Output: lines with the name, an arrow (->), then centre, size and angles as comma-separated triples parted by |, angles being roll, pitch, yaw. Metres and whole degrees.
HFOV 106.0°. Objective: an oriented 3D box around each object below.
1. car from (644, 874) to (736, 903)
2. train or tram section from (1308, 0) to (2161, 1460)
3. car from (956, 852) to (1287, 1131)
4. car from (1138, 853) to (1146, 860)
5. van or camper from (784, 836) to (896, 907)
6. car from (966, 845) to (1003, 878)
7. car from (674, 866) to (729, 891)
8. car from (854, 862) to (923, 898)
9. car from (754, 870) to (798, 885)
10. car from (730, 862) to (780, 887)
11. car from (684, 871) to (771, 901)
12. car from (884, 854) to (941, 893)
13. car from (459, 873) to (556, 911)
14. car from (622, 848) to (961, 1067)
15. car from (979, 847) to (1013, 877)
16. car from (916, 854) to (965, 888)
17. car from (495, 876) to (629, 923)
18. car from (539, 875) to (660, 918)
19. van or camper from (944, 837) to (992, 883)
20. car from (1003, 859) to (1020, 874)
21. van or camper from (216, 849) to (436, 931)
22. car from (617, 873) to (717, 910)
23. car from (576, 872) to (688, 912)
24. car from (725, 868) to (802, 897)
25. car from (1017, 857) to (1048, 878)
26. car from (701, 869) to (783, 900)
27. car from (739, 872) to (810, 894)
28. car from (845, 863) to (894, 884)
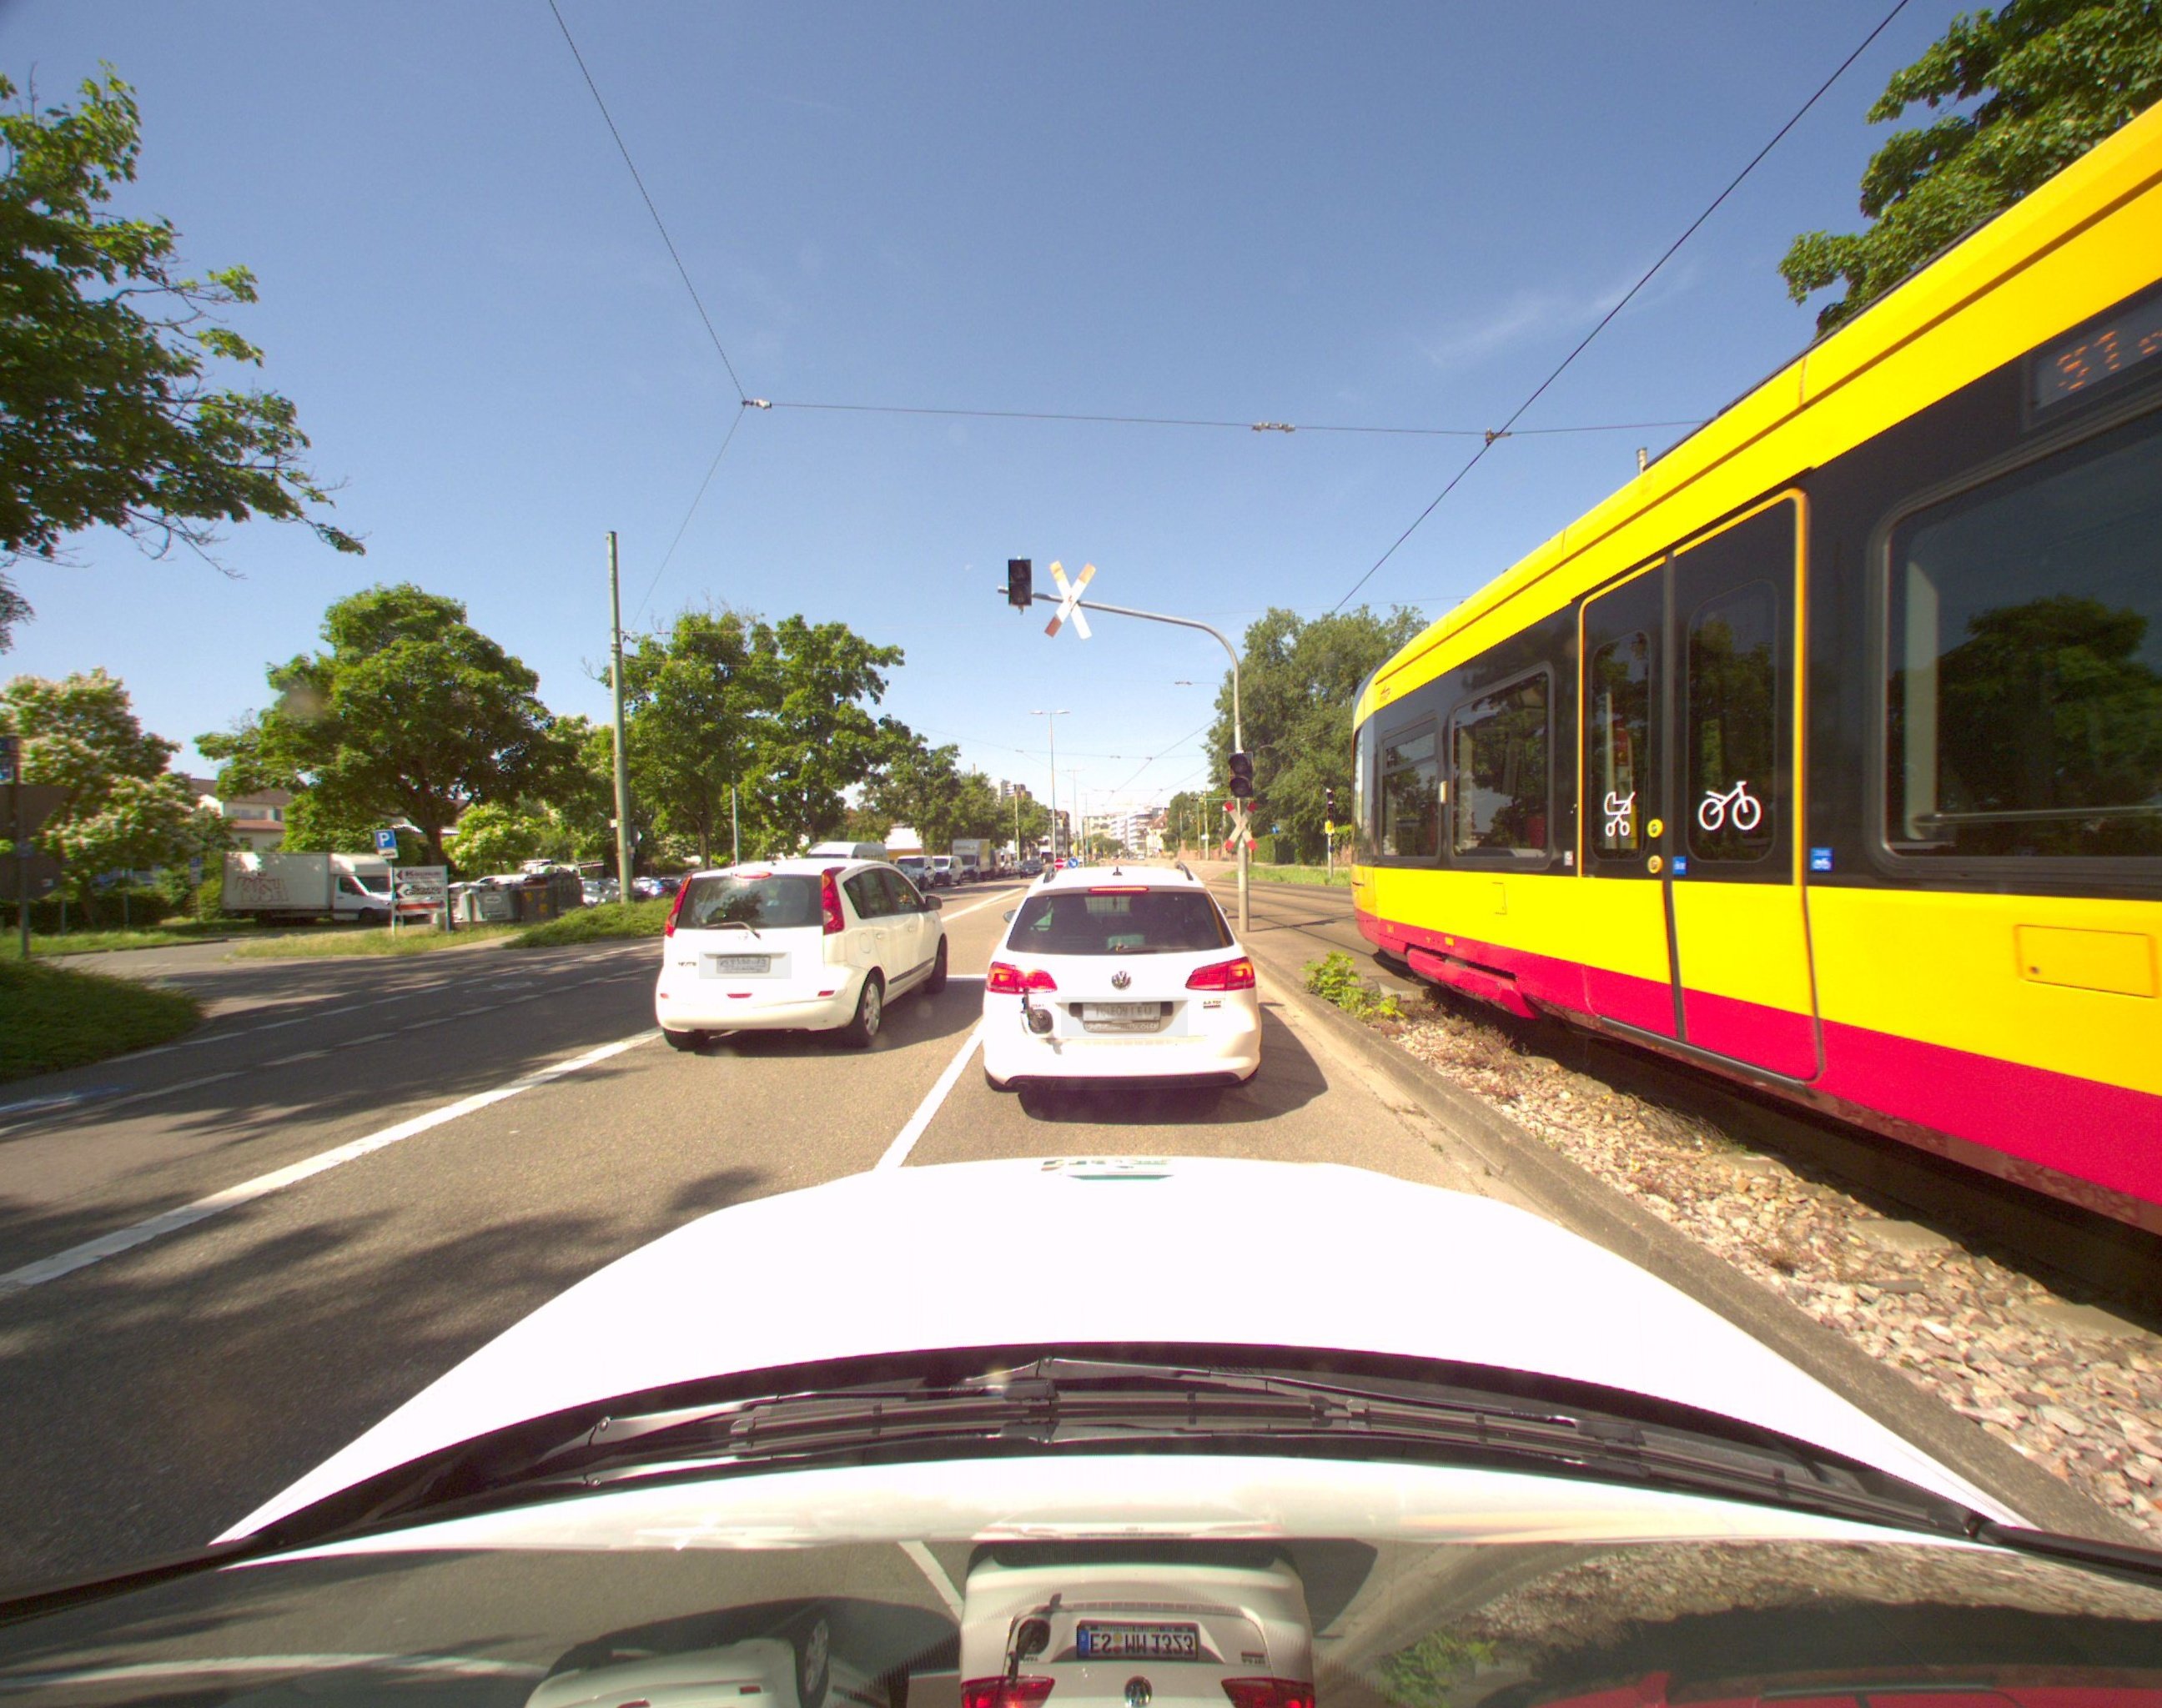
car -> -20.131, 1.758, 42.023 | 3.901, 1.271, 1.664 | -3, -1, 1
train or tram section -> 4.019, -0.332, 2.857 | 2.660, 3.652, 15.312 | 0, 0, 2
car -> 0.300, 0.731, 6.290 | 1.771, 1.490, 3.849 | 0, 0, 3
car -> 17.785, 0.791, 237.563 | 2.118, 2.013, 5.285 | -3, 0, 2
van or camper -> -9.542, 0.645, 32.893 | 2.248, 2.514, 6.152 | -3, 0, 3
car -> -8.049, 0.620, 68.601 | 2.187, 2.668, 6.083 | -1, 0, 2
car -> -33.962, 2.175, 73.006 | 3.976, 2.003, 1.909 | -2, 0, -2
car -> -9.099, 1.185, 38.964 | 1.925, 1.454, 4.888 | -3, 0, 2
car -> -30.973, 2.396, 82.648 | 3.834, 1.424, 1.532 | -1, 0, -1
car -> -31.152, 1.944, 77.887 | 3.976, 2.200, 1.909 | -2, 0, -2
car -> -19.410, 1.757, 44.787 | 3.972, 1.409, 1.733 | -3, 0, 1
car -> -9.296, 1.046, 45.383 | 2.190, 1.940, 5.180 | -3, 0, -2
car -> -31.690, 2.091, 45.046 | 3.976, 1.891, 1.784 | -2, 0, -2
car -> -2.447, 0.767, 8.034 | 1.723, 1.596, 4.014 | -1, 0, 3
car -> -7.807, 0.669, 75.316 | 2.187, 2.630, 5.982 | -1, 0, 2
car -> -8.955, 1.051, 52.387 | 2.189, 1.940, 5.184 | -3, 0, 0
car -> -19.874, 1.727, 31.297 | 3.974, 1.544, 1.663 | -3, -1, 0
car -> -19.931, 1.744, 33.818 | 3.974, 1.544, 1.663 | -3, -1, 0
van or camper -> -8.316, 0.405, 60.673 | 2.186, 3.241, 6.777 | -1, 0, 3
car -> -7.352, 1.302, 86.261 | 1.287, 1.490, 4.353 | -1, 0, 2
van or camper -> -32.455, 1.481, 35.204 | 6.928, 3.244, 2.581 | -1, 0, -1
car -> -20.119, 1.797, 39.687 | 3.973, 1.544, 1.664 | -3, -1, 1
car -> -19.965, 1.673, 36.317 | 3.974, 1.544, 1.663 | -3, -1, 0
car -> -19.484, 1.722, 50.052 | 3.973, 1.544, 1.664 | -3, -1, 1
car -> -3.765, 1.017, 63.635 | 1.777, 1.409, 4.310 | -2, 1, 4
car -> -19.634, 1.730, 47.281 | 3.973, 1.544, 1.664 | -3, -1, 1
car -> -19.642, 1.841, 52.331 | 3.874, 1.153, 1.664 | -3, -1, 1
car -> -19.292, 1.750, 74.438 | 3.974, 1.694, 1.663 | -3, -1, -1
